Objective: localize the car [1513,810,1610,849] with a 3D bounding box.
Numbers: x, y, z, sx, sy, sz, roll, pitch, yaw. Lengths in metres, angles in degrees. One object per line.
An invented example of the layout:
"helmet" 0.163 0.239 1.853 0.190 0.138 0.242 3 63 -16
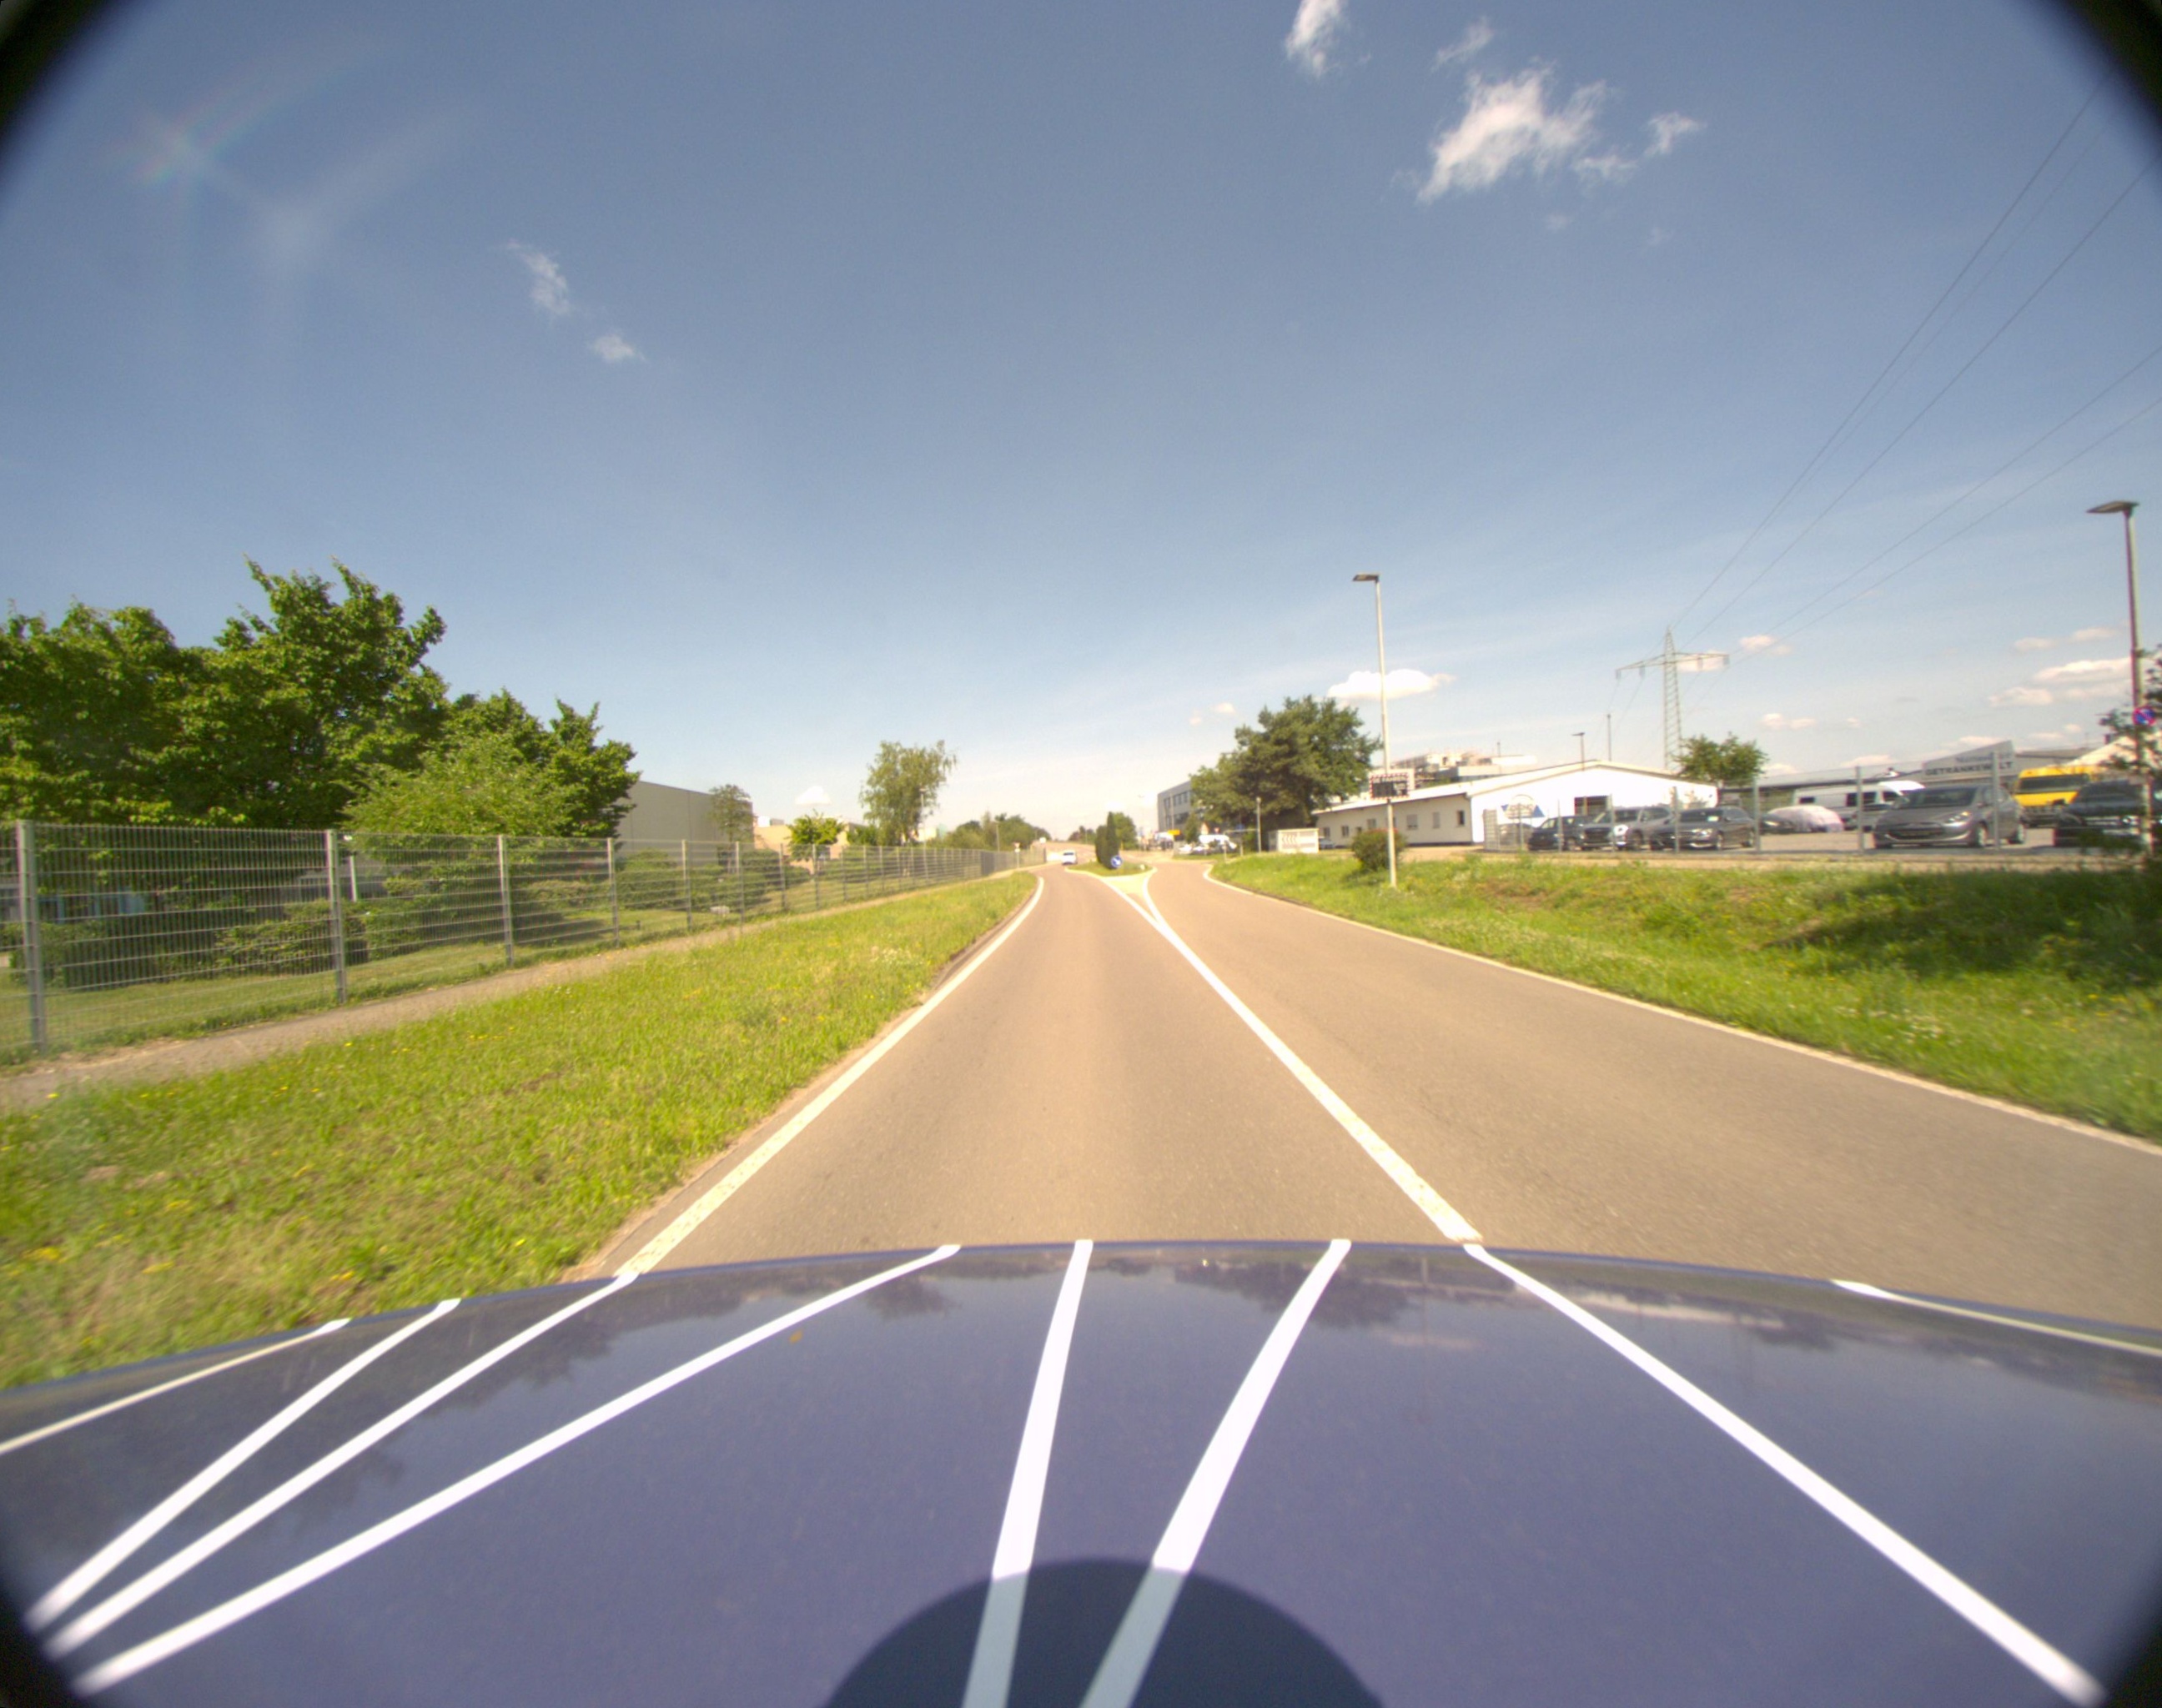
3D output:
"car" 19.996 -1.007 31.614 3.574 1.393 1.797 -4 1 -27

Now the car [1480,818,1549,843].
"car" 31.863 -1.720 55.889 4.000 1.516 1.935 -4 1 -9

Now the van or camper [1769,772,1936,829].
"van or camper" 42.321 -2.825 42.047 1.999 2.584 6.767 -4 1 -3

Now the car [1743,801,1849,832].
"car" 39.252 -2.013 41.839 1.925 1.425 3.998 -4 1 -3

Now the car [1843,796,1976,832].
"car" 38.282 -1.832 35.170 3.997 1.302 1.999 -4 1 -2

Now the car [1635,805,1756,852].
"car" 20.579 -0.863 25.421 4.006 1.302 1.938 -4 1 -32

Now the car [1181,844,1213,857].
"car" 15.337 -0.526 100.840 3.996 1.510 2.000 -3 1 3

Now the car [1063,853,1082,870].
"car" -1.076 0.957 98.596 1.998 1.904 4.000 -3 1 5

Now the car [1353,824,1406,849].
"car" 22.689 -1.308 57.927 1.999 1.734 4.227 -3 1 -5

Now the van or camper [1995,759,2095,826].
"van or camper" 38.452 -2.466 30.271 5.348 2.362 1.890 -4 1 -32

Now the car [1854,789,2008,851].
"car" 21.546 -0.859 19.242 4.006 1.302 1.938 -4 1 -32

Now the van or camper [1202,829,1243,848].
"van or camper" 20.833 -2.264 111.941 5.576 2.483 2.081 -3 2 24

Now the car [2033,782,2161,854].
"car" 21.705 -0.797 15.721 4.005 1.302 1.938 -4 1 -31

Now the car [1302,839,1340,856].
"car" 22.429 -0.641 71.116 1.999 1.400 4.515 -4 1 -1

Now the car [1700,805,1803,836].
"car" 36.563 -1.785 41.594 1.925 1.425 3.998 -4 1 -3

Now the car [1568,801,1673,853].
"car" 20.311 -1.039 28.546 4.115 1.695 1.719 -4 1 -32
